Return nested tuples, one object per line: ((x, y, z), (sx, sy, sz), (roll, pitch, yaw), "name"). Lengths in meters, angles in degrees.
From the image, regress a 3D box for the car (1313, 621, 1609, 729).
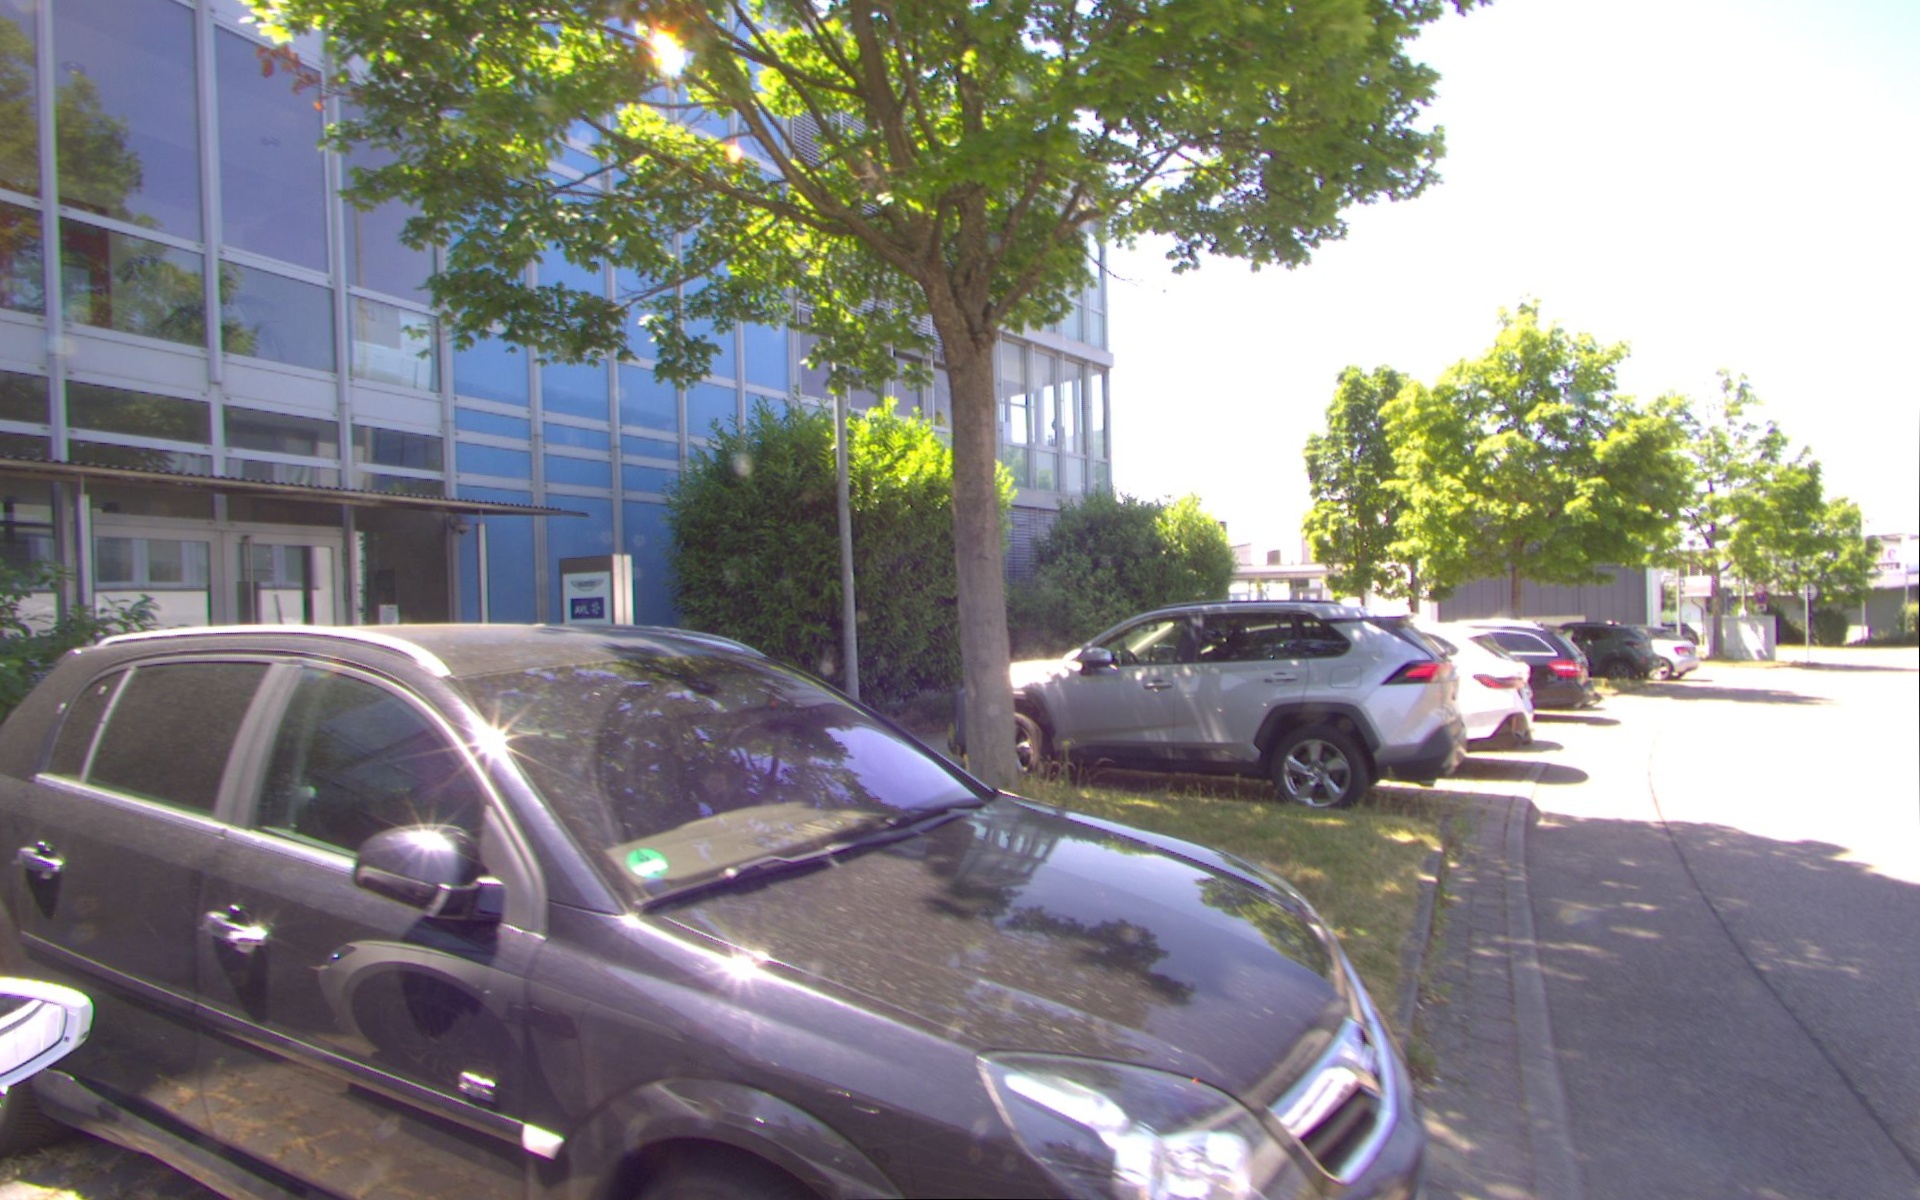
((8.158, 1.133, 16.489), (4.125, 1.506, 1.649), (0, 0, 38), "car")

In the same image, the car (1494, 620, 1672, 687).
((15.827, 1.305, 25.558), (1.618, 1.546, 3.557), (1, 0, -41), "car")

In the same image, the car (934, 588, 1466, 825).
((2.060, 0.753, 8.930), (4.268, 1.664, 1.849), (0, 0, 31), "car")

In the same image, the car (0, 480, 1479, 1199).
((-1.088, 0.720, 2.816), (4.495, 1.569, 1.756), (-1, -1, 29), "car")

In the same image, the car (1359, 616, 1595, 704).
((10.829, 1.176, 21.167), (4.134, 1.626, 1.645), (0, 0, 45), "car")

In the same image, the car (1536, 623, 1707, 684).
((17.730, 1.387, 26.948), (1.618, 1.462, 3.557), (1, 0, -41), "car")

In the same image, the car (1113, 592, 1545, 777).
((3.905, 0.764, 10.810), (4.140, 1.664, 1.653), (0, 0, 31), "car")
